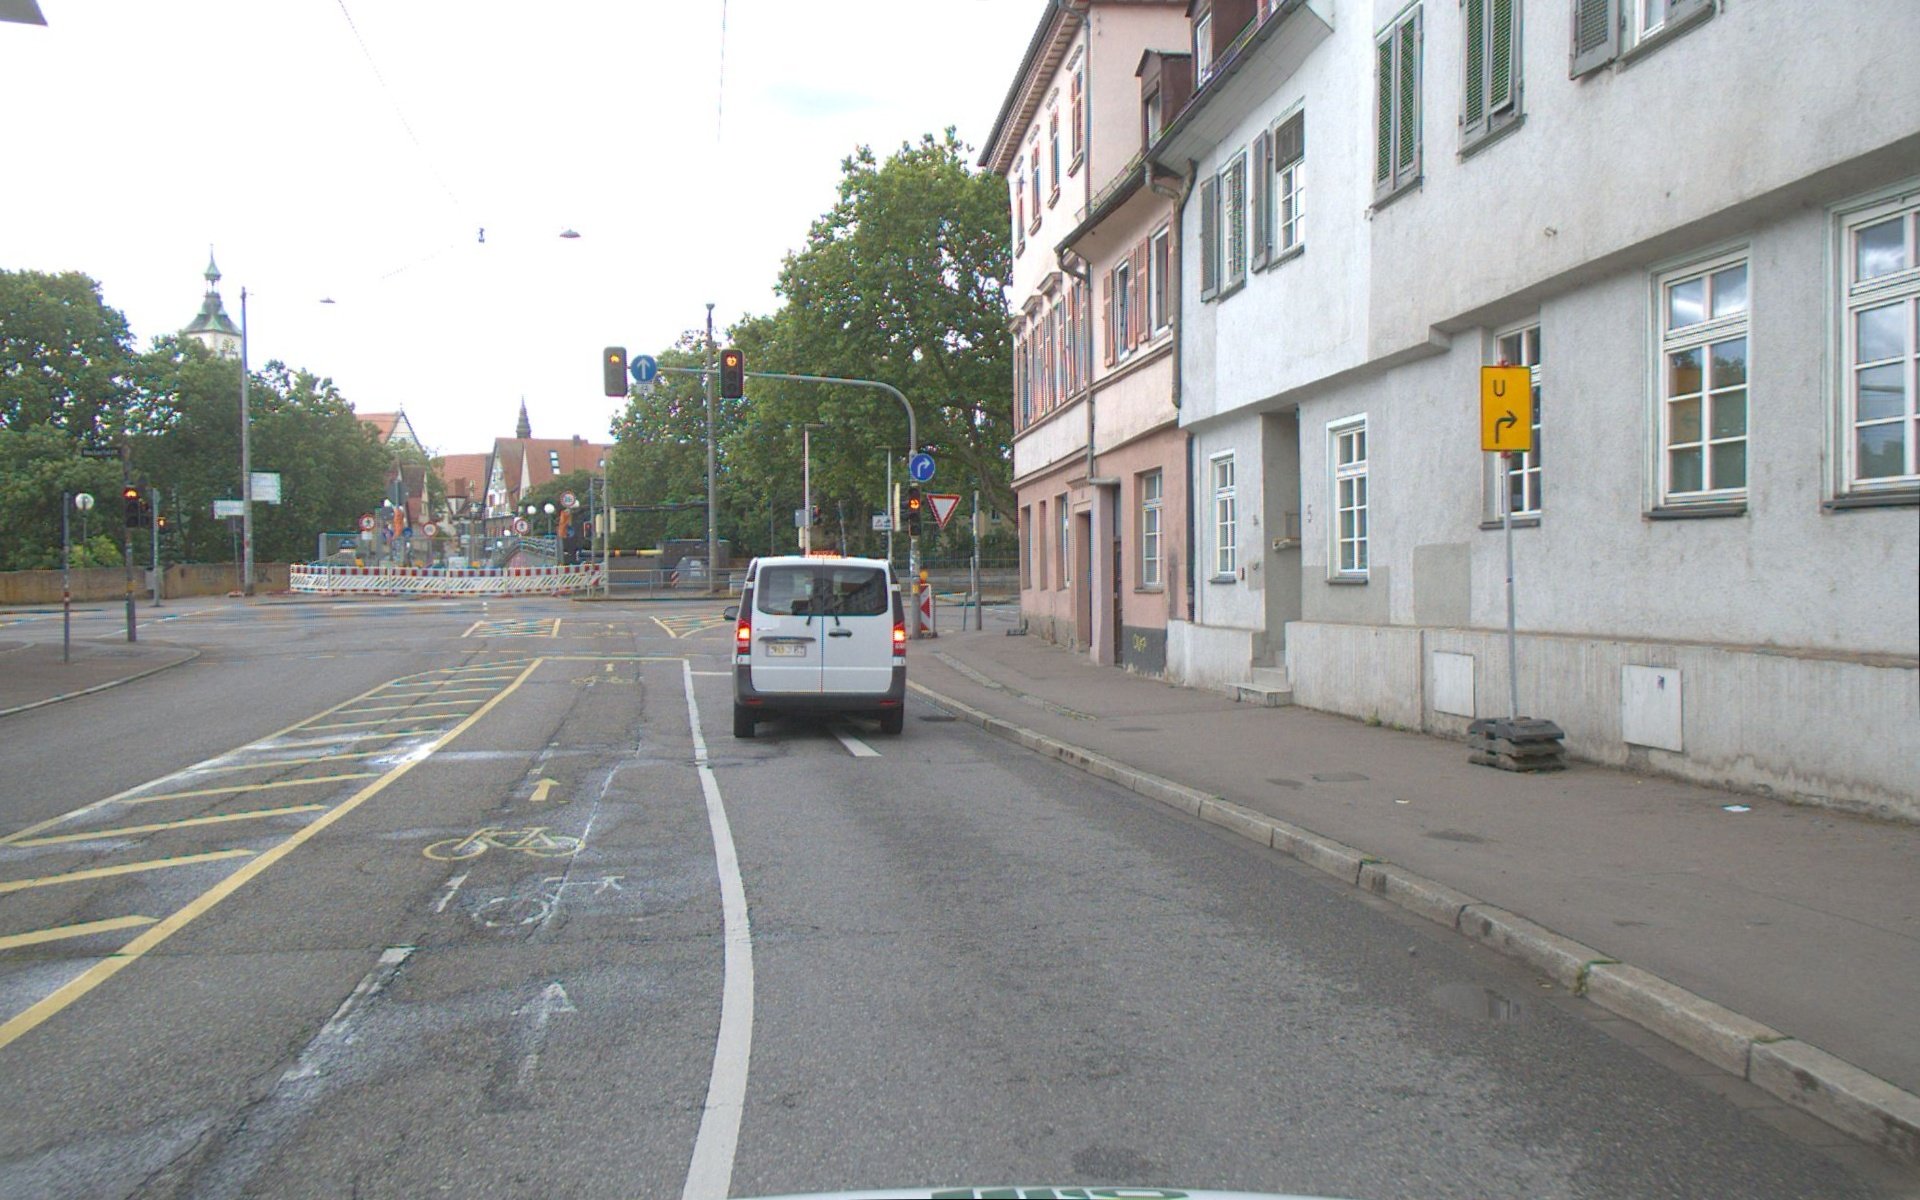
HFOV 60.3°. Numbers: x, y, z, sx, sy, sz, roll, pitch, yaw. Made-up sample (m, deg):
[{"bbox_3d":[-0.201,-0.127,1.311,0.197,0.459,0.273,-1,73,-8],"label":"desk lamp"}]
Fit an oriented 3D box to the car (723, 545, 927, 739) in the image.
[{"bbox_3d":[-1.663,0.396,18.928,1.957,1.956,4.239,0,1,-10],"label":"car"}]
